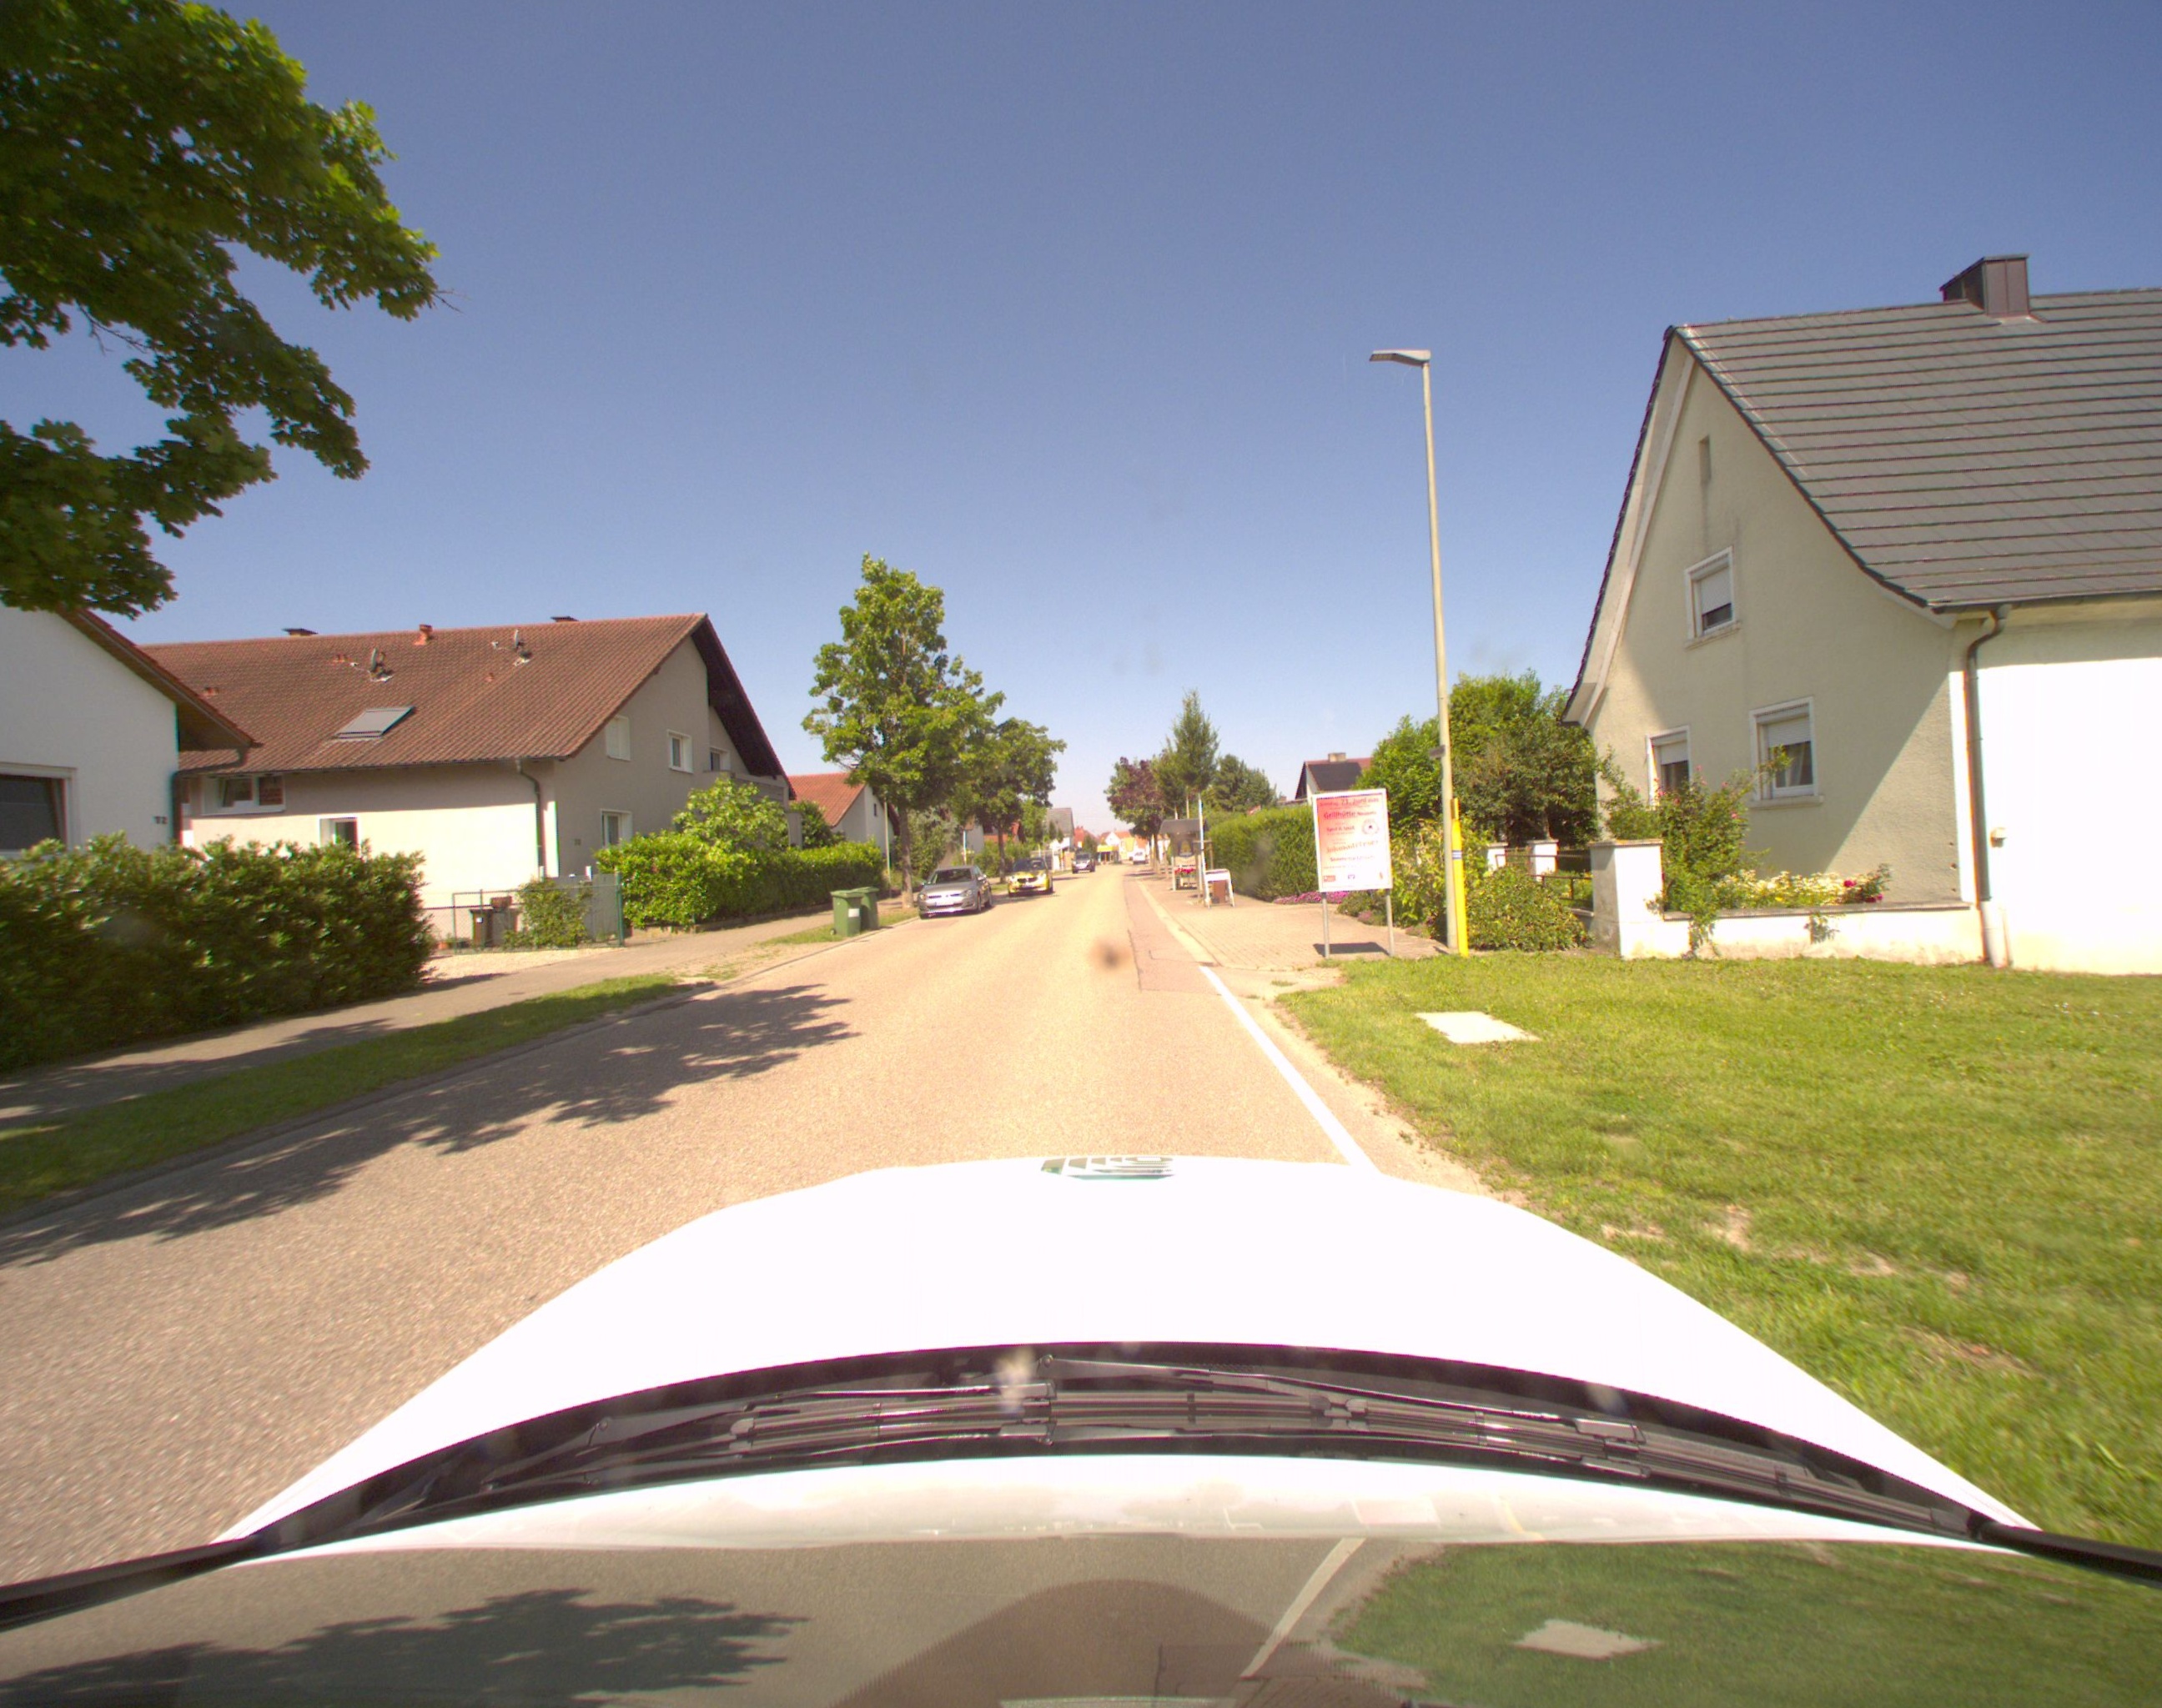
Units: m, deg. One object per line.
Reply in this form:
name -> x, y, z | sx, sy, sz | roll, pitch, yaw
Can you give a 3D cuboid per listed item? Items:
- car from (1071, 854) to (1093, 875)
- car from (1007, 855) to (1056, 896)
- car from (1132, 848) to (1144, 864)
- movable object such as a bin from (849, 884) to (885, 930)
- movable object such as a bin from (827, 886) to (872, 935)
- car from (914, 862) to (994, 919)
car -> 0.100, 0.913, 73.367 | 1.829, 1.752, 3.795 | -3, 0, 0
car -> -2.016, 0.850, 33.806 | 1.660, 1.524, 3.443 | -4, 0, 1
car -> 9.371, 0.367, 133.231 | 1.729, 2.432, 4.382 | -3, 0, 6
movable object such as a bin -> -5.255, 1.300, 20.038 | 0.570, 1.079, 0.601 | -3, -1, 15
movable object such as a bin -> -5.488, 1.334, 19.310 | 0.706, 1.079, 0.643 | -3, -1, 27
car -> -3.768, 1.033, 24.740 | 1.642, 1.423, 4.080 | -5, 0, 0
